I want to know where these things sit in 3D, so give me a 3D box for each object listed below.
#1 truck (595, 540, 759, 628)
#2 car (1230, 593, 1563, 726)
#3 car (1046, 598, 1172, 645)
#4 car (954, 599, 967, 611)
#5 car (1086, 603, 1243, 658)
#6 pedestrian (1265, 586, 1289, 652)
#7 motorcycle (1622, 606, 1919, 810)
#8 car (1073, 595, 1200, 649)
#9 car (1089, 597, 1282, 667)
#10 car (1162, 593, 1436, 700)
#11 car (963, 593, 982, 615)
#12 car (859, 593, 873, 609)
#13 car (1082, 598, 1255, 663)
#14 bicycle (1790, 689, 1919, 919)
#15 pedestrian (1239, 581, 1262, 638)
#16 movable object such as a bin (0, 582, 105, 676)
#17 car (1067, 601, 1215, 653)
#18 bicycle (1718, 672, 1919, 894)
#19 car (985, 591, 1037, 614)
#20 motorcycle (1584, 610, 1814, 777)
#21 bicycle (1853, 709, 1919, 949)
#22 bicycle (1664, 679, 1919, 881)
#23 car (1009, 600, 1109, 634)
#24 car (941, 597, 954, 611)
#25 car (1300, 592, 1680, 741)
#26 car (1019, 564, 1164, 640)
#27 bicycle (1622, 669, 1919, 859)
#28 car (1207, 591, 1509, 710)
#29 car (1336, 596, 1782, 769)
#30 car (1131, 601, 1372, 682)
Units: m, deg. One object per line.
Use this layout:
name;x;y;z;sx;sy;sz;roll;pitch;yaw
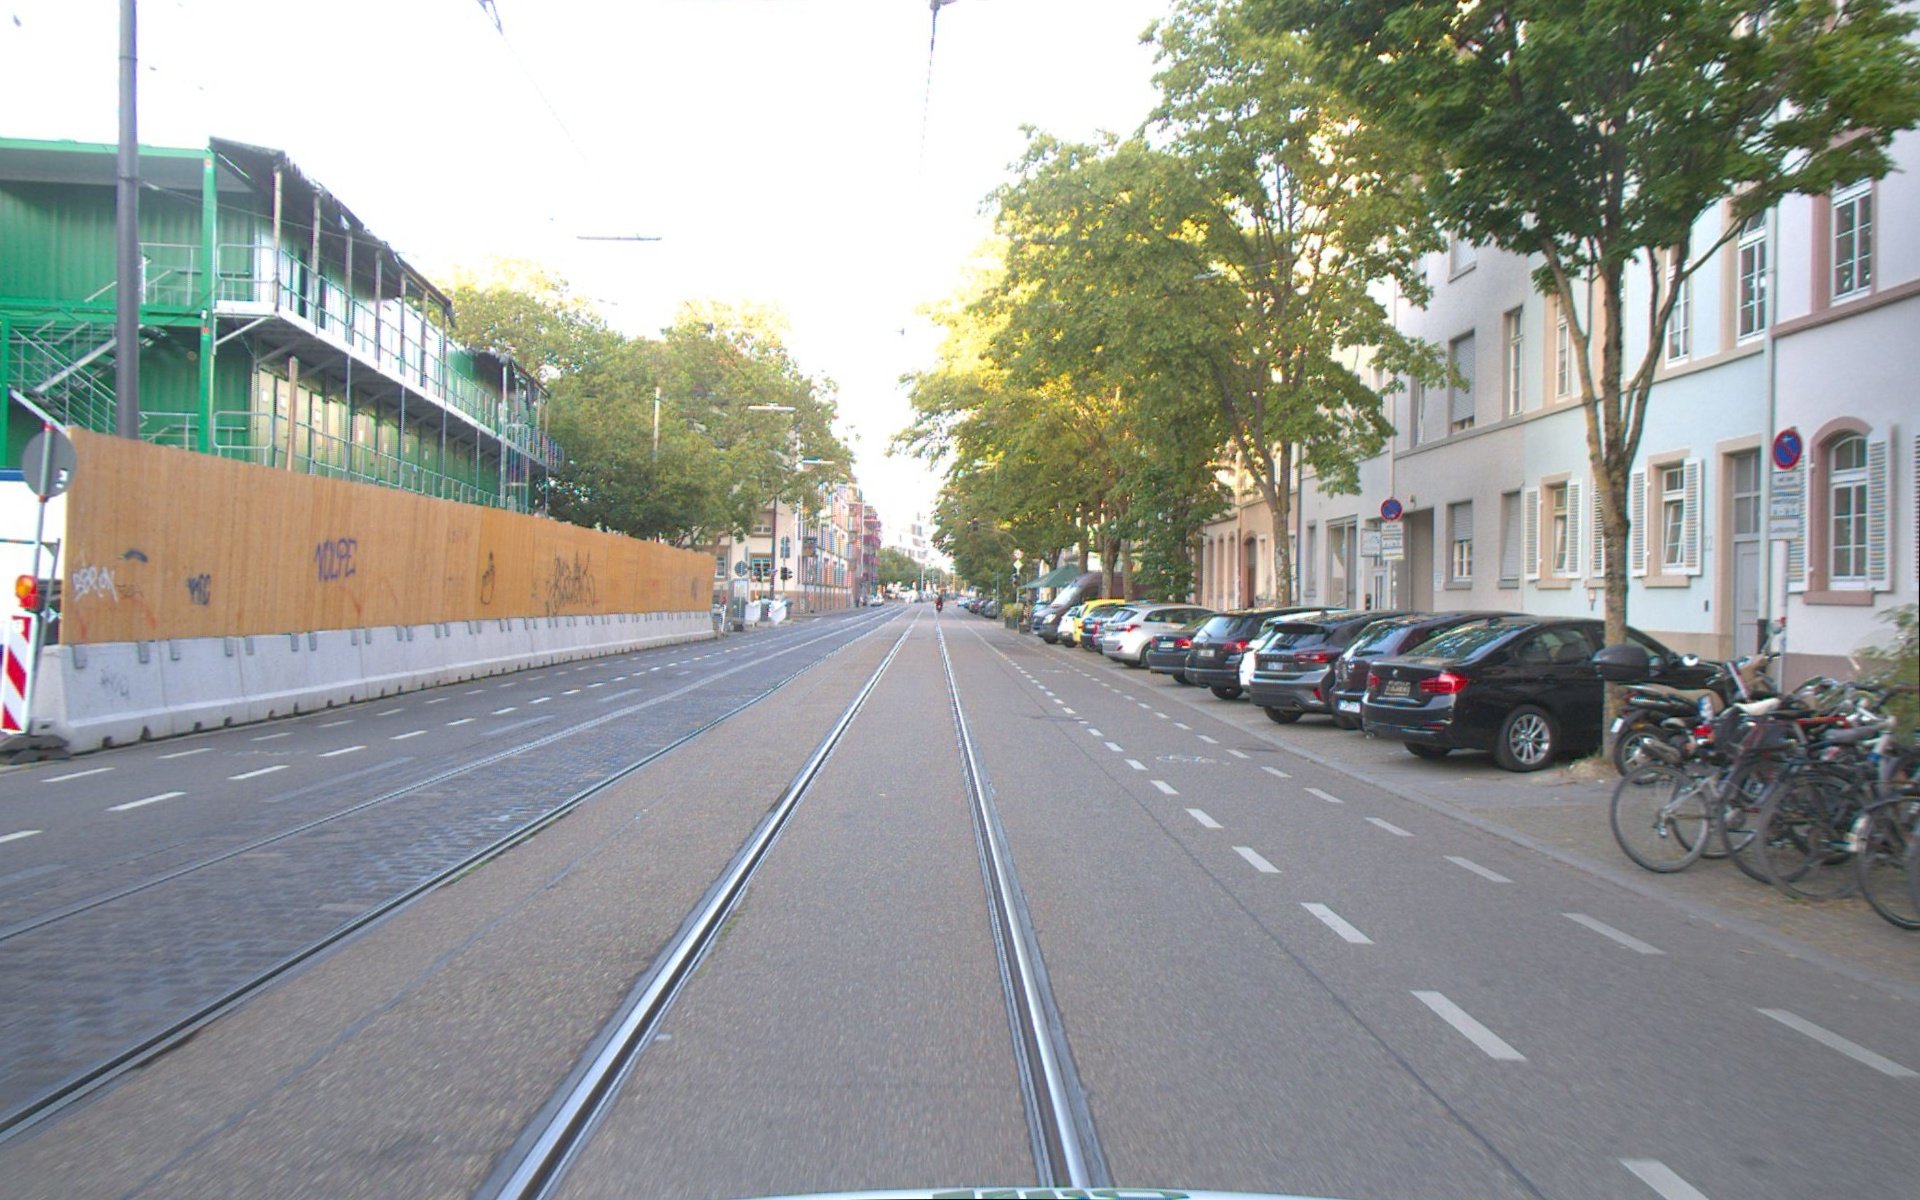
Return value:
truck;-12.675;-0.720;74.640;6.919;3.541;2.539;3;0;-5
car;5.851;0.737;22.162;4.062;1.496;1.810;-2;1;-24
car;5.130;0.740;57.064;3.900;1.512;1.905;-1;-1;-25
car;0.005;0.819;259.535;1.923;1.748;3.999;1;0;-1
car;5.779;0.846;46.676;4.071;1.450;1.881;-1;-1;-27
pedestrian;8.938;0.530;46.664;0.554;1.846;0.607;0;0;1
motorcycle;6.509;0.818;13.029;2.178;1.487;0.967;-1;0;-3
car;5.653;0.697;53.370;3.870;1.648;1.920;-1;-1;-1
car;5.394;0.748;39.833;4.175;1.576;2.014;-1;0;-12
car;5.609;0.724;27.357;4.065;1.496;1.999;-3;1;-26
car;1.240;0.394;162.678;1.687;2.049;3.999;1;0;-1
car;-13.296;0.144;233.773;1.859;2.216;3.999;1;0;-1
car;5.523;0.789;43.816;4.195;1.588;1.883;-1;-1;-24
bicycle;5.288;0.982;8.383;1.849;1.049;0.608;-2;0;-3
pedestrian;8.277;0.273;47.106;0.527;1.595;0.813;0;0;1
movable object such as a bin;-13.803;0.432;25.055;1.280;1.393;0.783;1;0;-5
car;5.459;0.802;49.928;4.071;1.450;1.904;-1;-1;-27
bicycle;5.273;0.967;9.123;1.849;1.086;0.674;-2;0;-3
car;3.815;0.168;124.125;3.808;1.620;1.861;2;0;0
motorcycle;6.393;0.794;14.344;1.750;1.367;0.533;-1;0;-3
bicycle;5.278;1.030;7.749;1.849;1.049;0.608;-2;0;-3
bicycle;5.218;1.038;9.805;1.826;1.049;0.591;-2;0;-4
car;4.470;0.761;74.892;4.123;1.525;1.992;0;-1;-26
car;-1.894;0.604;248.847;1.859;2.049;3.999;1;0;-1
car;6.297;0.730;19.788;3.887;1.496;1.991;-2;1;-18
car;4.907;0.070;61.766;5.016;2.689;2.011;-1;0;-18
bicycle;5.209;1.014;10.402;1.865;1.049;0.533;-2;0;-3
car;5.957;0.707;24.771;4.065;1.496;1.971;-3;1;-26
car;6.143;0.772;17.001;4.101;1.451;1.813;-2;1;-20
car;5.608;0.762;31.848;4.196;1.416;2.000;-1;0;-25
